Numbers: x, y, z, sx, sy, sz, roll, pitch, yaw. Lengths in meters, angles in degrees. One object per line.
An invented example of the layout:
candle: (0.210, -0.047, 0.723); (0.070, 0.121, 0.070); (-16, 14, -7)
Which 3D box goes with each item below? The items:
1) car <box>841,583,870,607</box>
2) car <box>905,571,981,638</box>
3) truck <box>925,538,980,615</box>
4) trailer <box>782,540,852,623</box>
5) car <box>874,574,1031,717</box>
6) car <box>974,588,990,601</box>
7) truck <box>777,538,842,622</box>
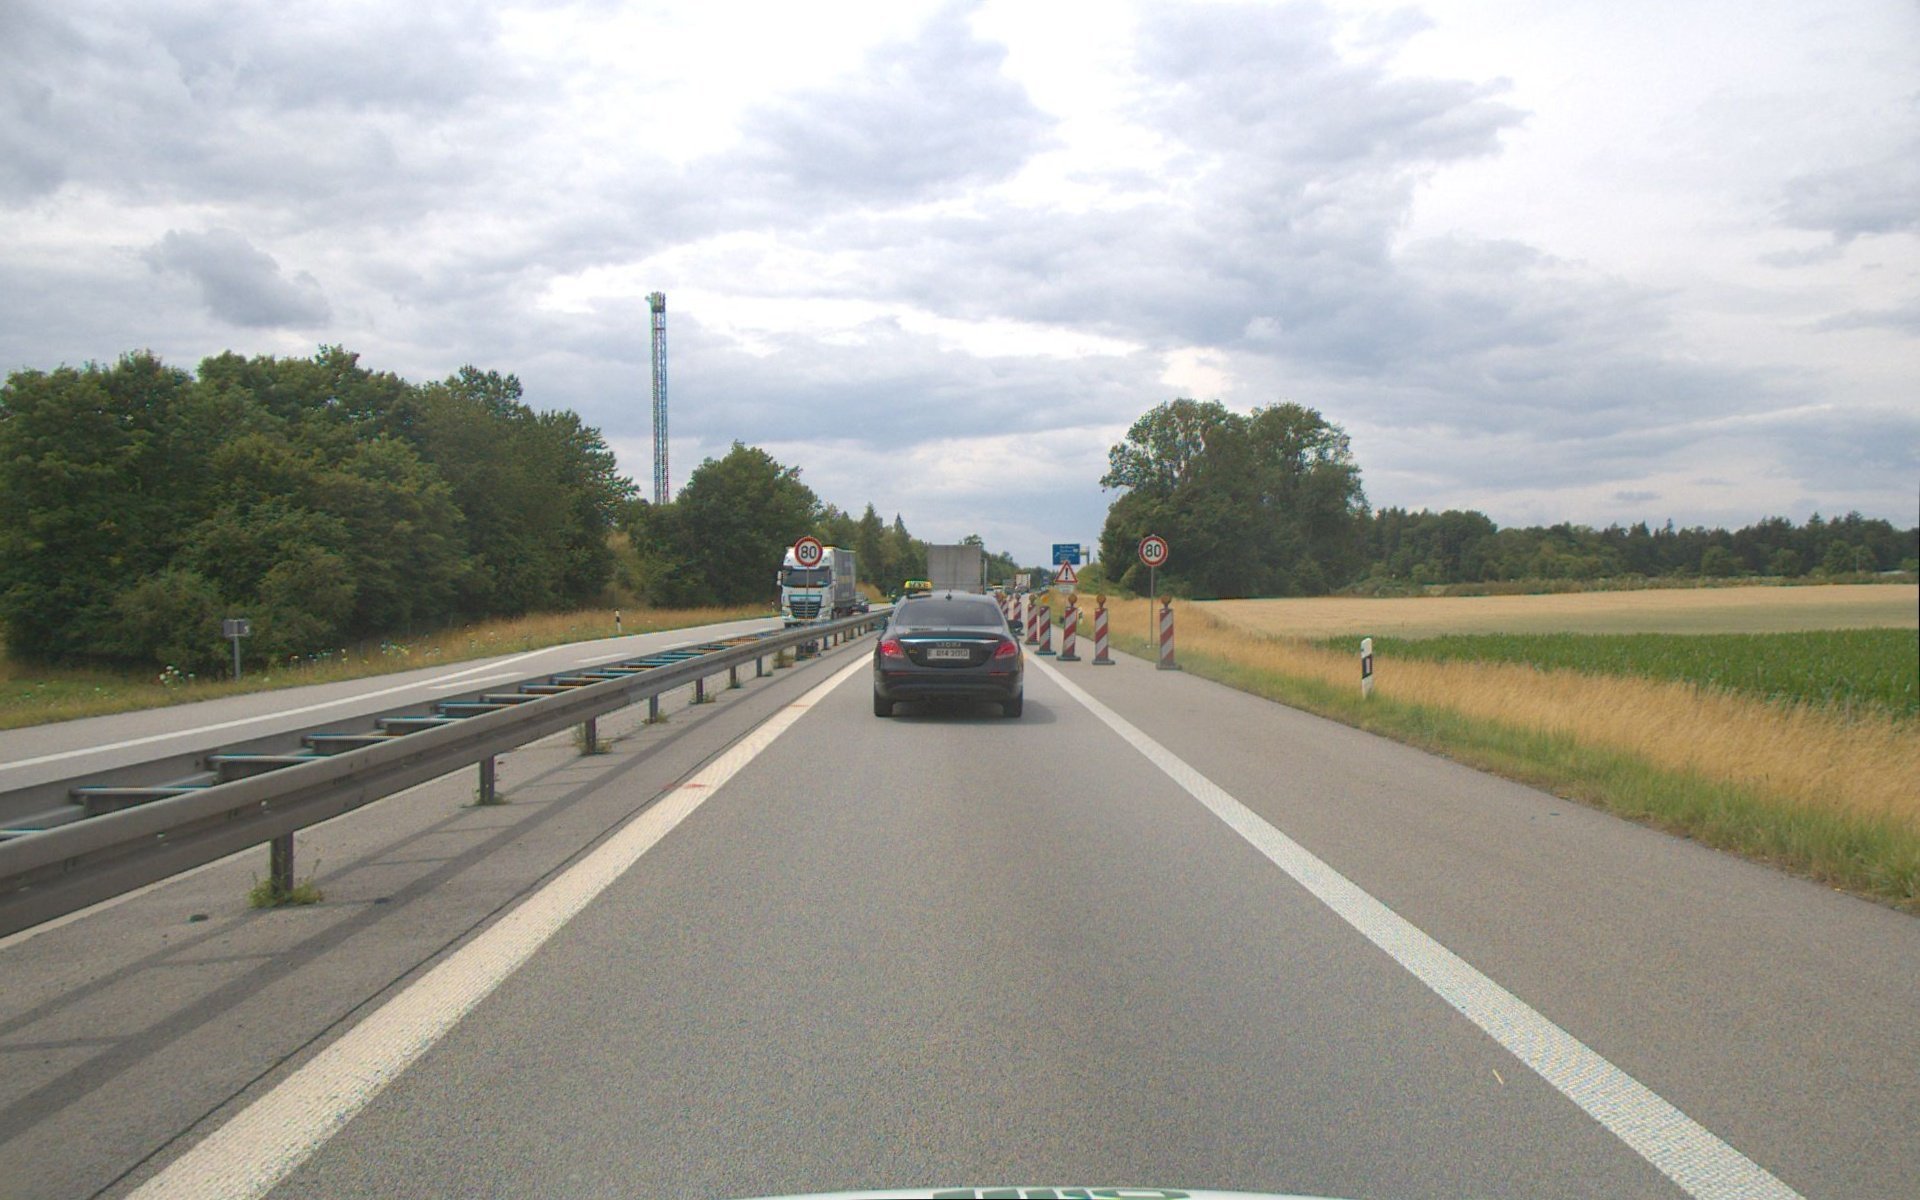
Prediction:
car: (-7.831, -0.383, 124.097); (1.953, 1.713, 4.233); (1, 0, -1)
car: (-0.606, 0.154, 53.763); (1.956, 2.049, 3.992); (1, 0, -8)
truck: (-0.387, -1.086, 79.819); (2.534, 3.586, 4.811); (1, 0, -1)
trailer: (-7.874, -0.930, 92.711); (2.741, 4.246, 13.562); (1, 0, 0)
car: (-0.129, 0.526, 20.677); (1.759, 1.587, 3.999); (1, 0, -1)
car: (2.536, -0.665, 193.516); (1.616, 1.420, 3.703); (1, 0, -4)
truck: (-7.838, -0.985, 86.998); (2.741, 4.214, 7.228); (1, 0, 0)
